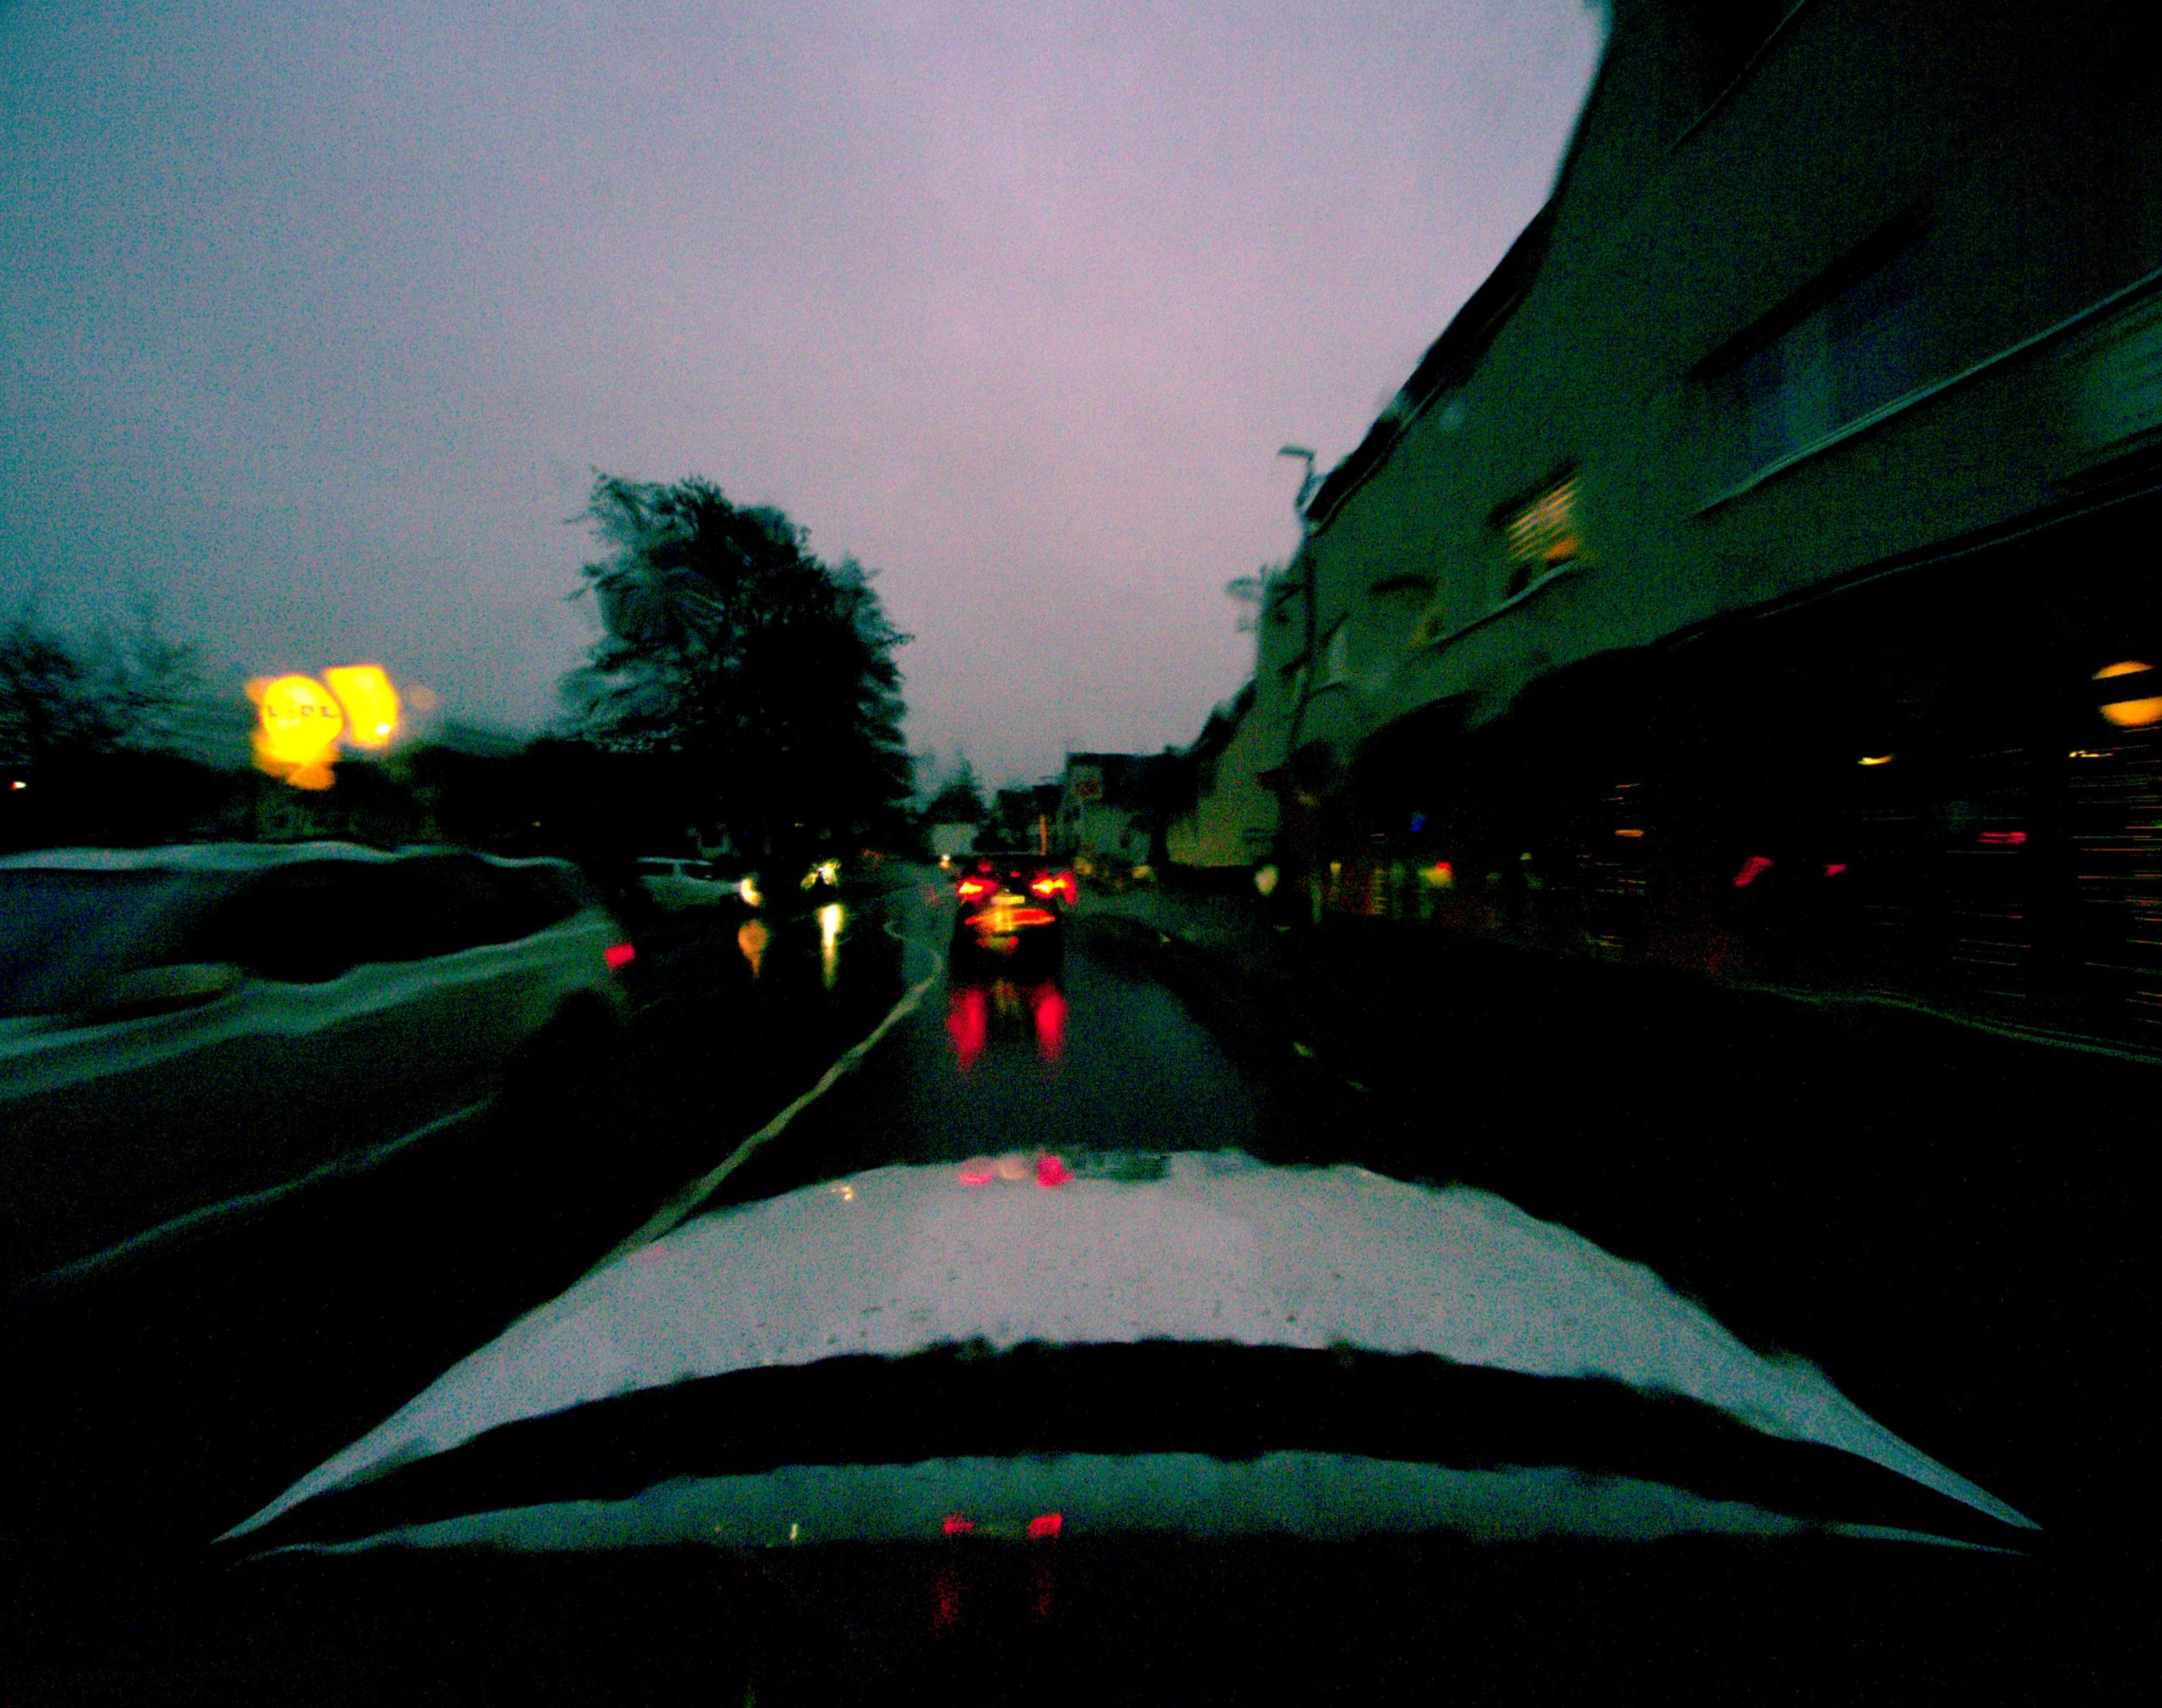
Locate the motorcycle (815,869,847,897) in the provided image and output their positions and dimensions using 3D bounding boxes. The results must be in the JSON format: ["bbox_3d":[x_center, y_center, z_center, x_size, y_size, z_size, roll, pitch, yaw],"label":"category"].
[{"bbox_3d":[-9.875,1.135,32.228,0.865,1.024,2.104,0,0,-7],"label":"motorcycle"}]

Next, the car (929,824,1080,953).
[{"bbox_3d":[-1.585,0.553,15.217,2.309,1.938,5.001,-1,0,-10],"label":"car"}]

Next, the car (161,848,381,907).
[{"bbox_3d":[-25.233,0.679,25.591,4.420,1.671,1.956,-1,1,-19],"label":"car"}]

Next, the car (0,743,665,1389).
[{"bbox_3d":[-3.734,0.572,3.210,1.764,1.723,4.424,-1,0,2],"label":"car"}]

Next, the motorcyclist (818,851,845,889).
[{"bbox_3d":[-9.865,0.633,32.181,0.865,1.485,0.906,0,-1,-8],"label":"motorcyclist"}]

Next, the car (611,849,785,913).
[{"bbox_3d":[-11.098,0.794,23.919,4.230,1.699,1.892,2,-1,-13],"label":"car"}]

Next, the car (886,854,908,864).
[{"bbox_3d":[-37.572,0.975,166.092,4.261,2.013,1.798,-2,0,-20],"label":"car"}]

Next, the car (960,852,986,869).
[{"bbox_3d":[-9.348,0.565,70.429,1.844,1.331,3.920,-2,0,-13],"label":"car"}]

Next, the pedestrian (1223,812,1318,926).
[{"bbox_3d":[3.340,0.253,14.485,1.252,1.866,1.302,-3,0,-3],"label":"pedestrian"}]

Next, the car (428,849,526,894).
[{"bbox_3d":[-33.779,0.899,45.765,2.281,2.278,5.251,1,1,-10],"label":"car"}]
